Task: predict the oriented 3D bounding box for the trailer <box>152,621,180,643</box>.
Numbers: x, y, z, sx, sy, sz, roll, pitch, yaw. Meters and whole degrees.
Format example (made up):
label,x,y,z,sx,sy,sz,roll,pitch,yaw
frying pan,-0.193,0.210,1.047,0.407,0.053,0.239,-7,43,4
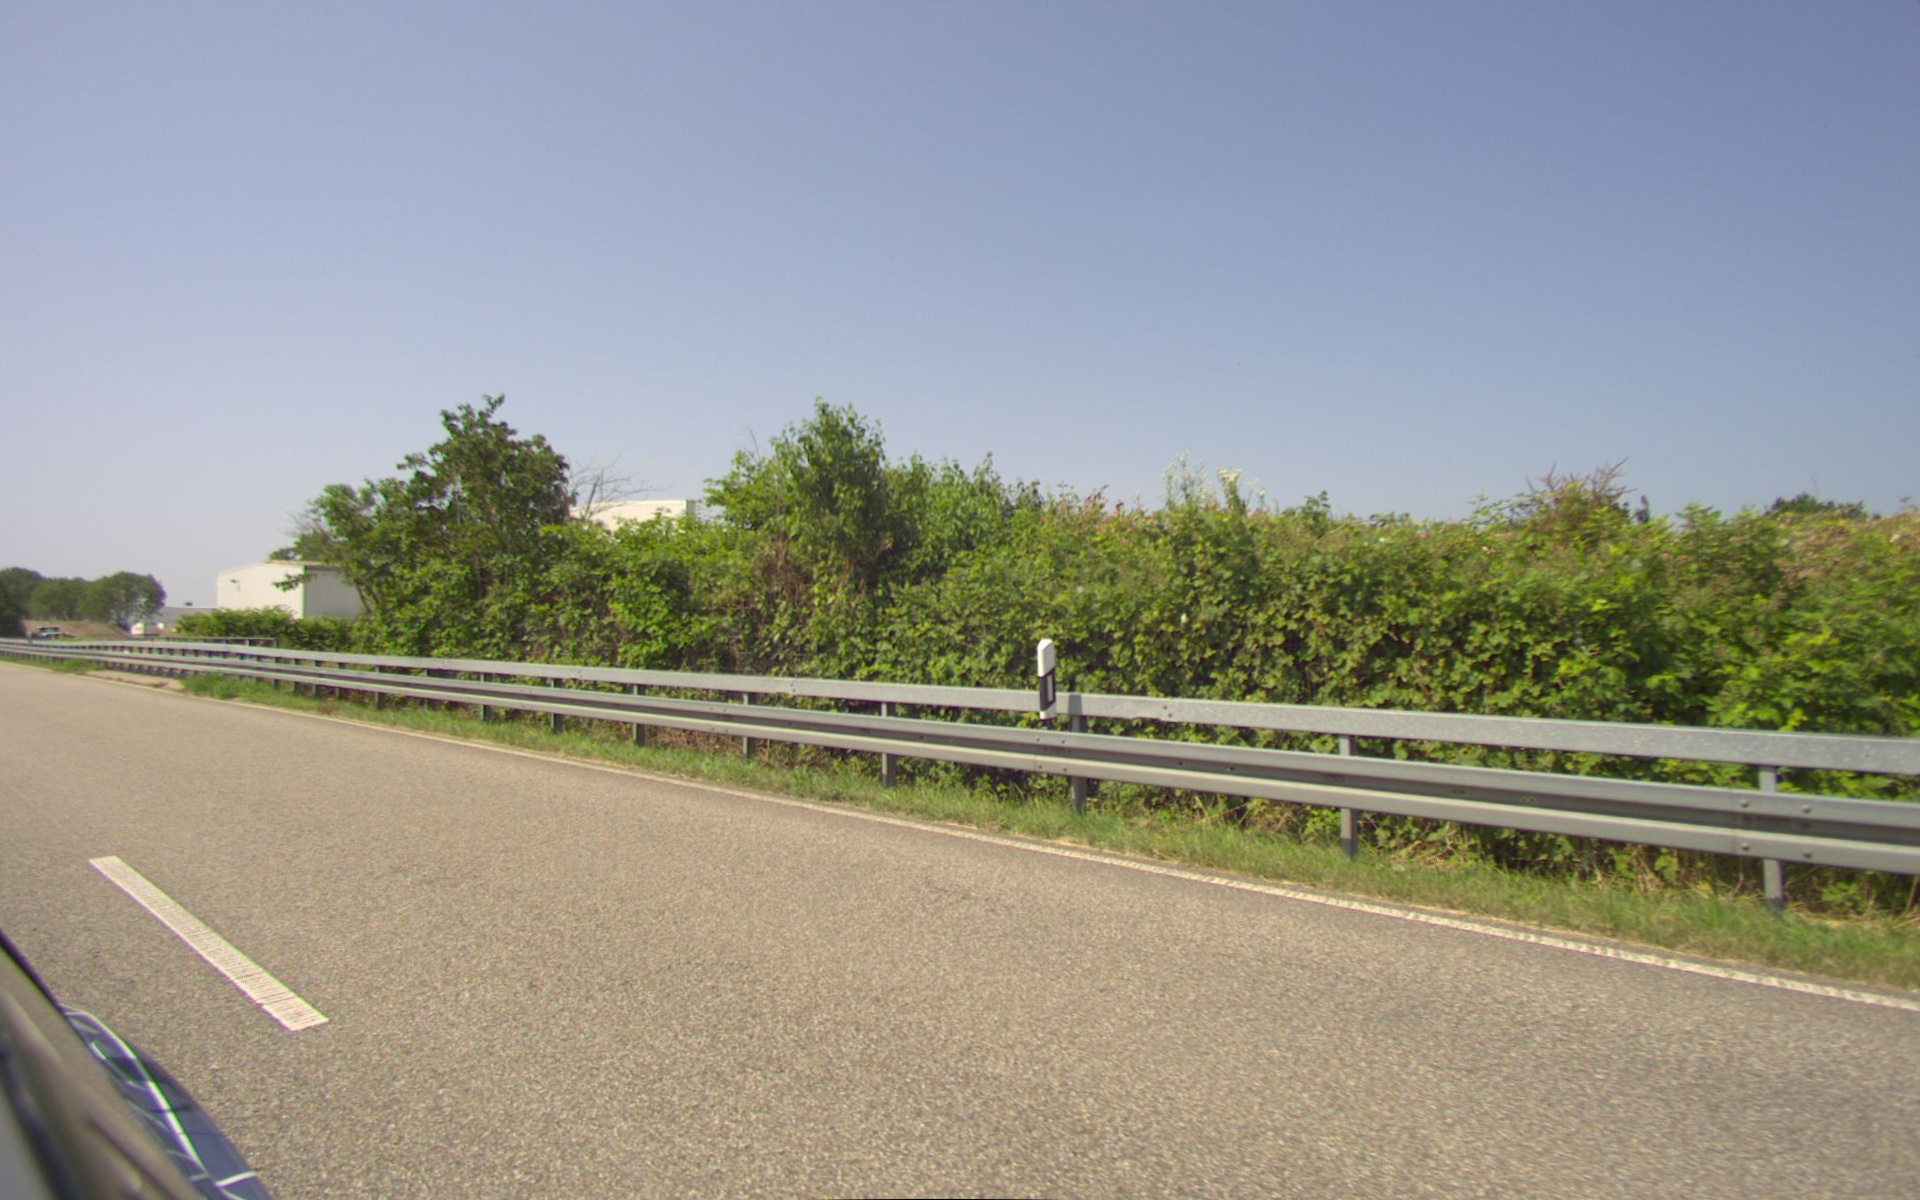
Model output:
label,x,y,z,sx,sy,sz,roll,pitch,yaw
trailer,-162.672,6.635,207.235,7.529,4.251,2.827,-3,-2,39
